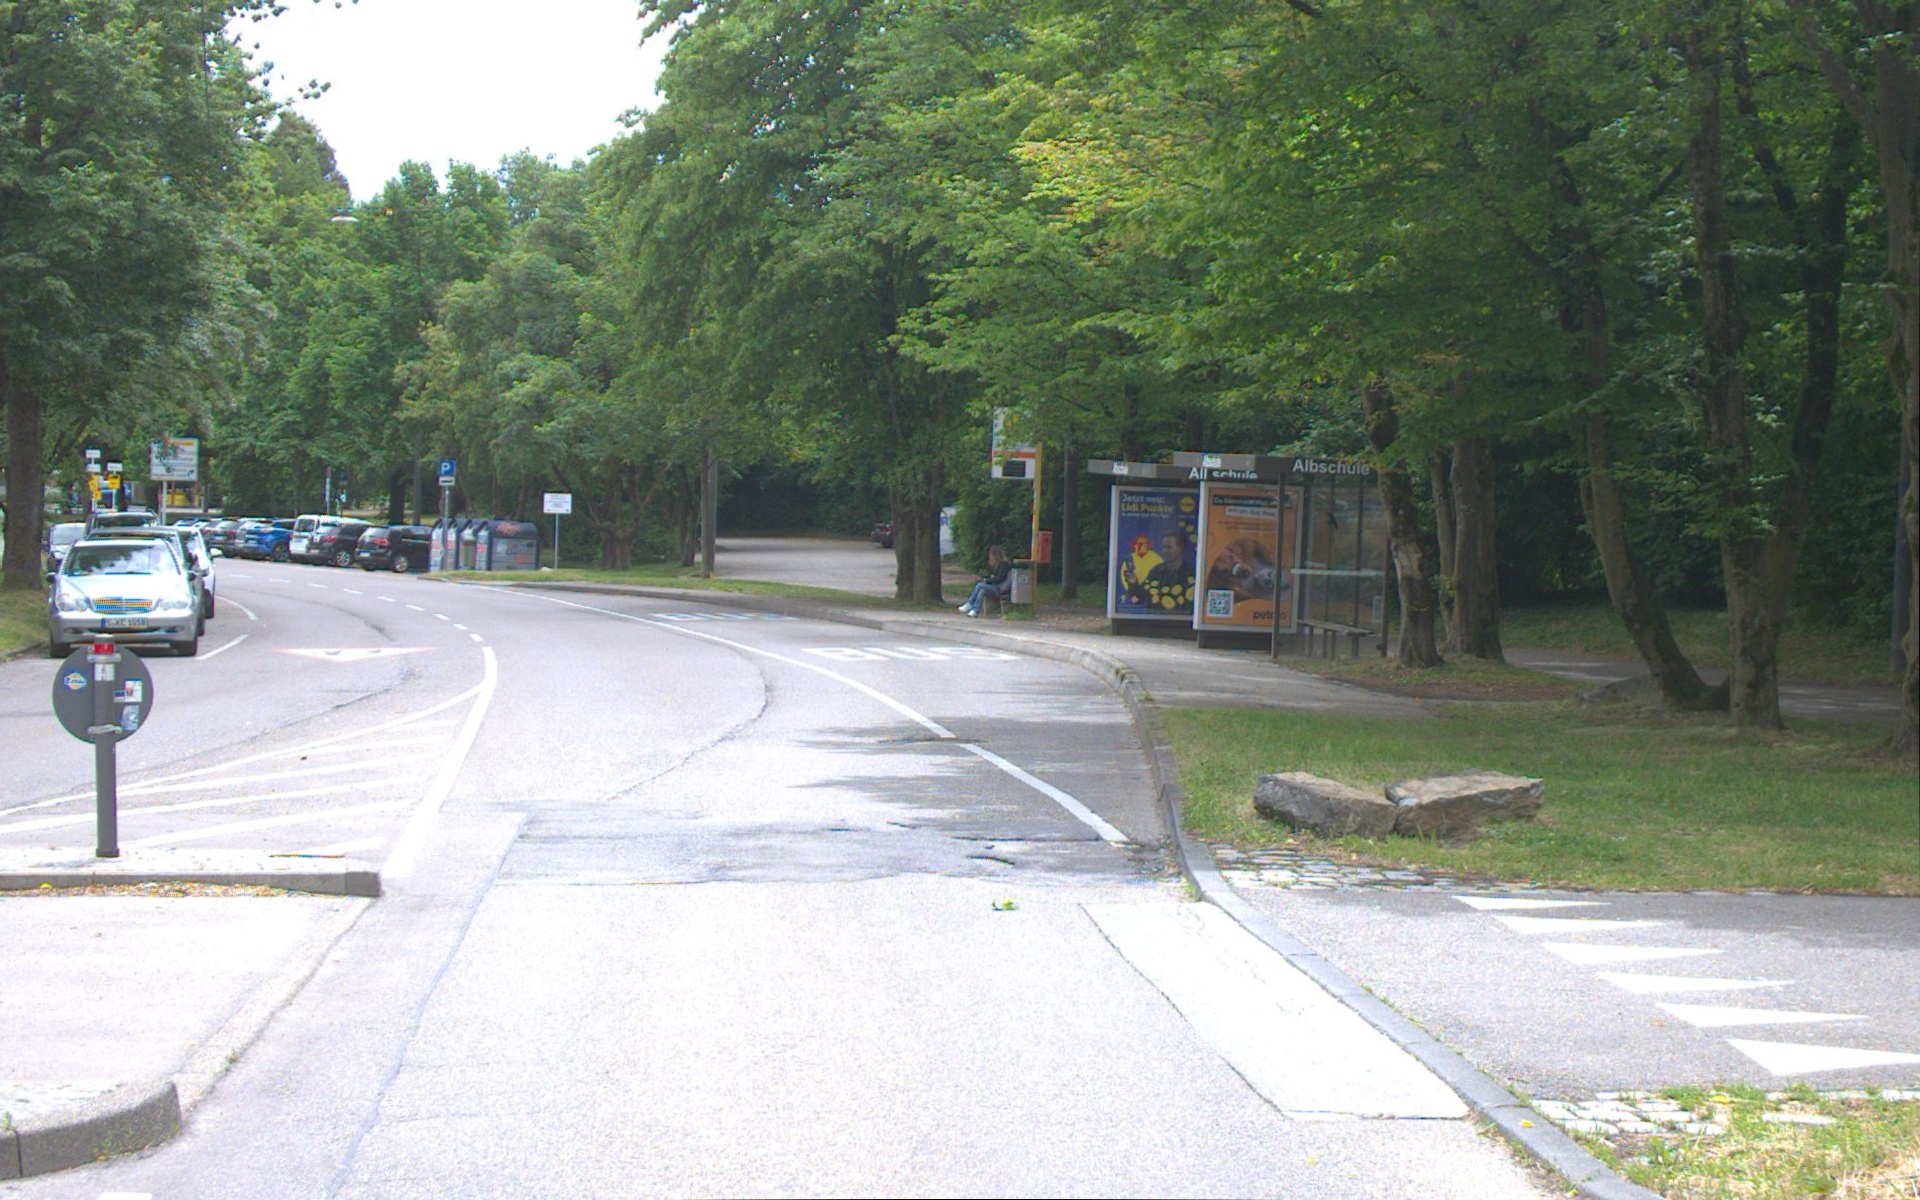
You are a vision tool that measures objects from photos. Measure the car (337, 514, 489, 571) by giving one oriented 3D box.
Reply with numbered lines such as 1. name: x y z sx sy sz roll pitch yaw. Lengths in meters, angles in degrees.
1. car: -16.546 -1.730 104.130 3.988 1.409 2.057 3 1 -42

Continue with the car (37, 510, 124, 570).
1. car: -24.659 -1.701 96.308 1.804 1.557 4.268 -3 2 -21

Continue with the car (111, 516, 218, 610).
1. car: -13.862 -0.672 60.058 1.735 1.573 4.143 0 1 -12

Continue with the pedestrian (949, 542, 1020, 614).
1. pedestrian: 0.402 -0.365 57.474 1.063 1.178 0.580 0 1 -14

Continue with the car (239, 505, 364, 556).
1. car: -22.742 -2.393 118.762 3.820 1.523 1.746 3 -1 -42

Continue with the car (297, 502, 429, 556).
1. car: -19.437 -2.317 111.940 3.820 1.463 1.746 3 1 -42

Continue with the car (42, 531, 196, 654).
1. car: -10.460 -0.134 42.588 1.735 1.411 4.474 0 1 -15

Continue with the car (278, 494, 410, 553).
1. car: -20.496 -2.556 114.463 3.820 1.714 1.877 3 0 -42

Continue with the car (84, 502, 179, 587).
1. car: -19.513 -1.322 80.823 1.857 1.902 5.085 0 1 -17

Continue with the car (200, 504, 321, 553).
1. car: -25.025 -2.547 123.083 3.820 1.523 1.746 3 -1 -42
